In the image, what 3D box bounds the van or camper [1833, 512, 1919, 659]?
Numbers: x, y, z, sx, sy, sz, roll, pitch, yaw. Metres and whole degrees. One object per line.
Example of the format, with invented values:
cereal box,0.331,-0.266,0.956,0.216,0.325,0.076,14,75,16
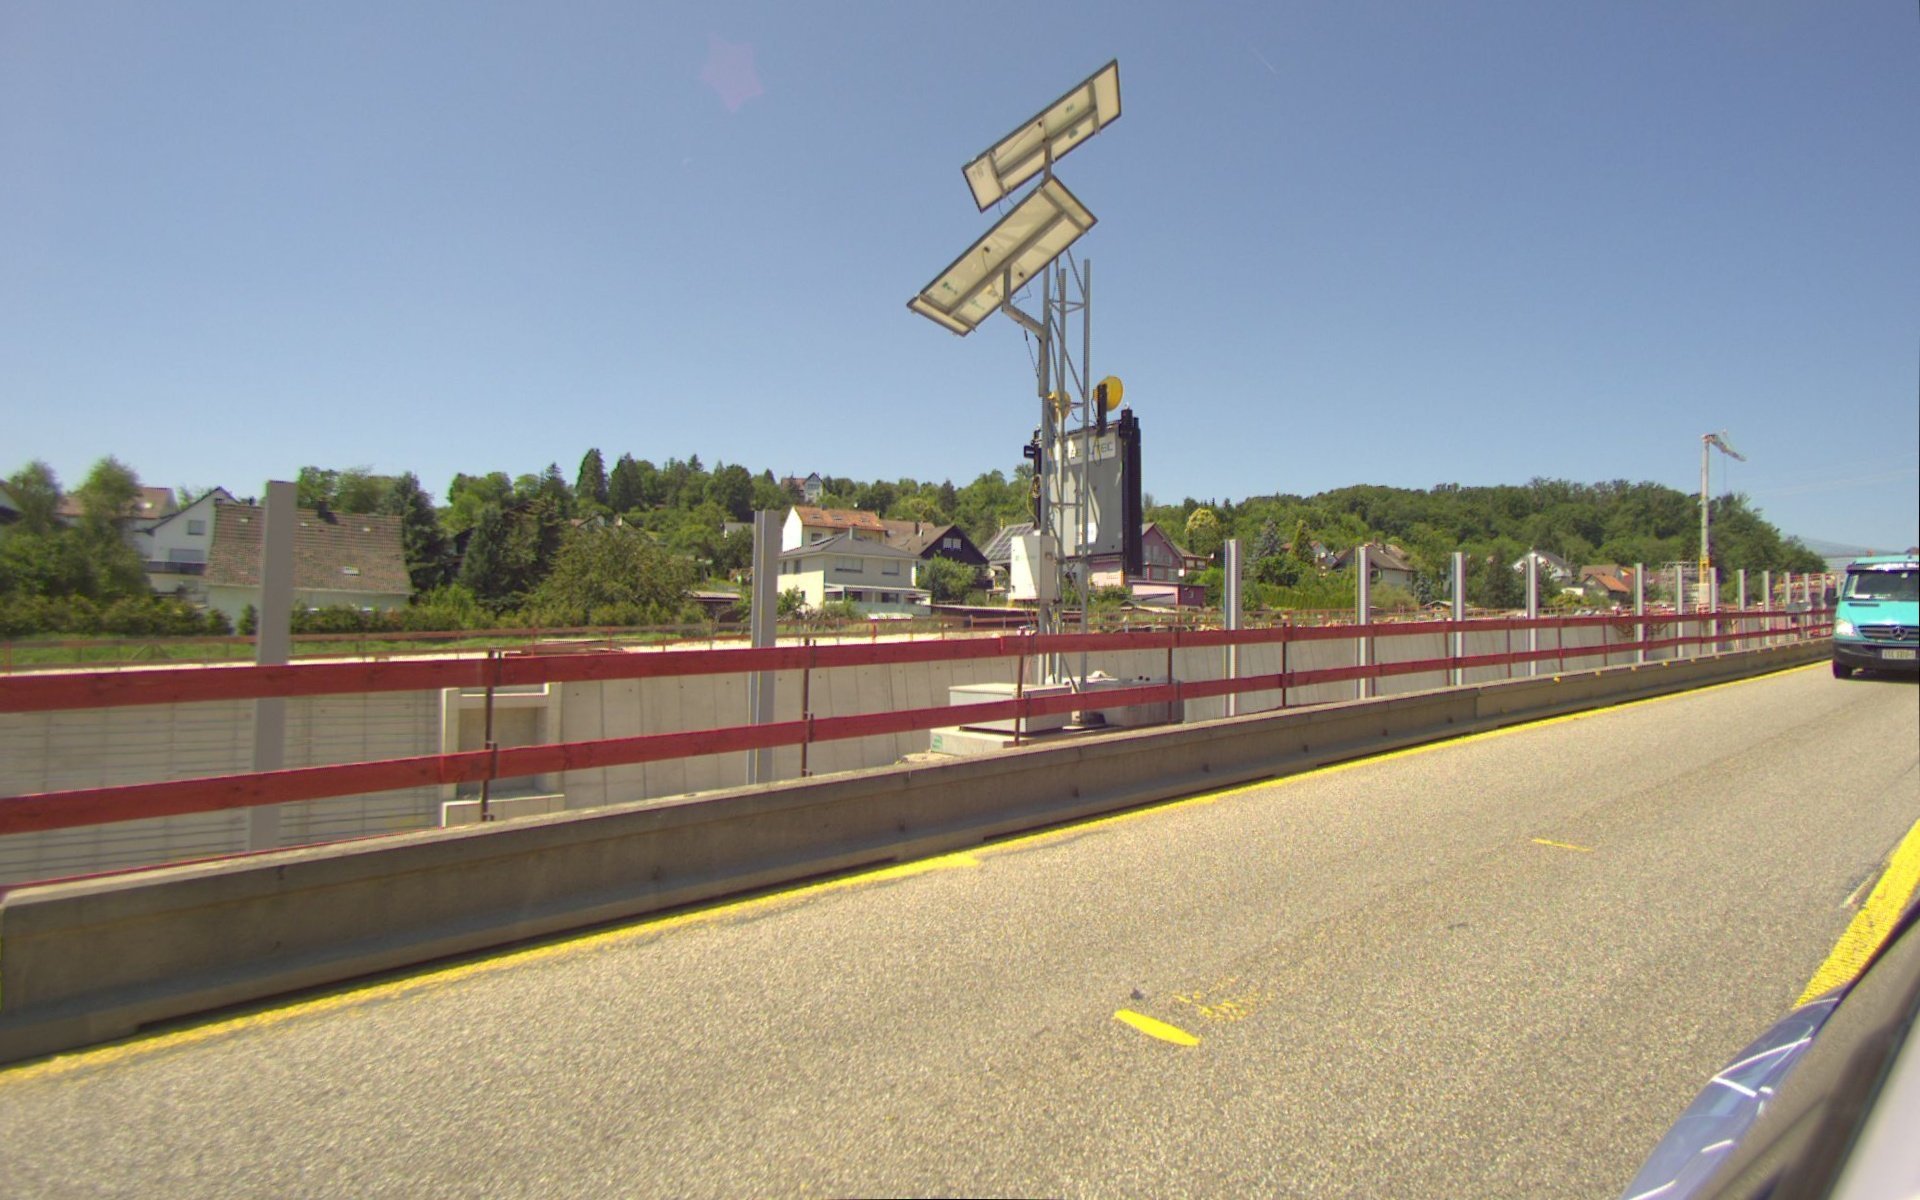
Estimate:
van or camper,19.130,-0.237,19.785,7.537,2.504,2.096,0,0,-41
